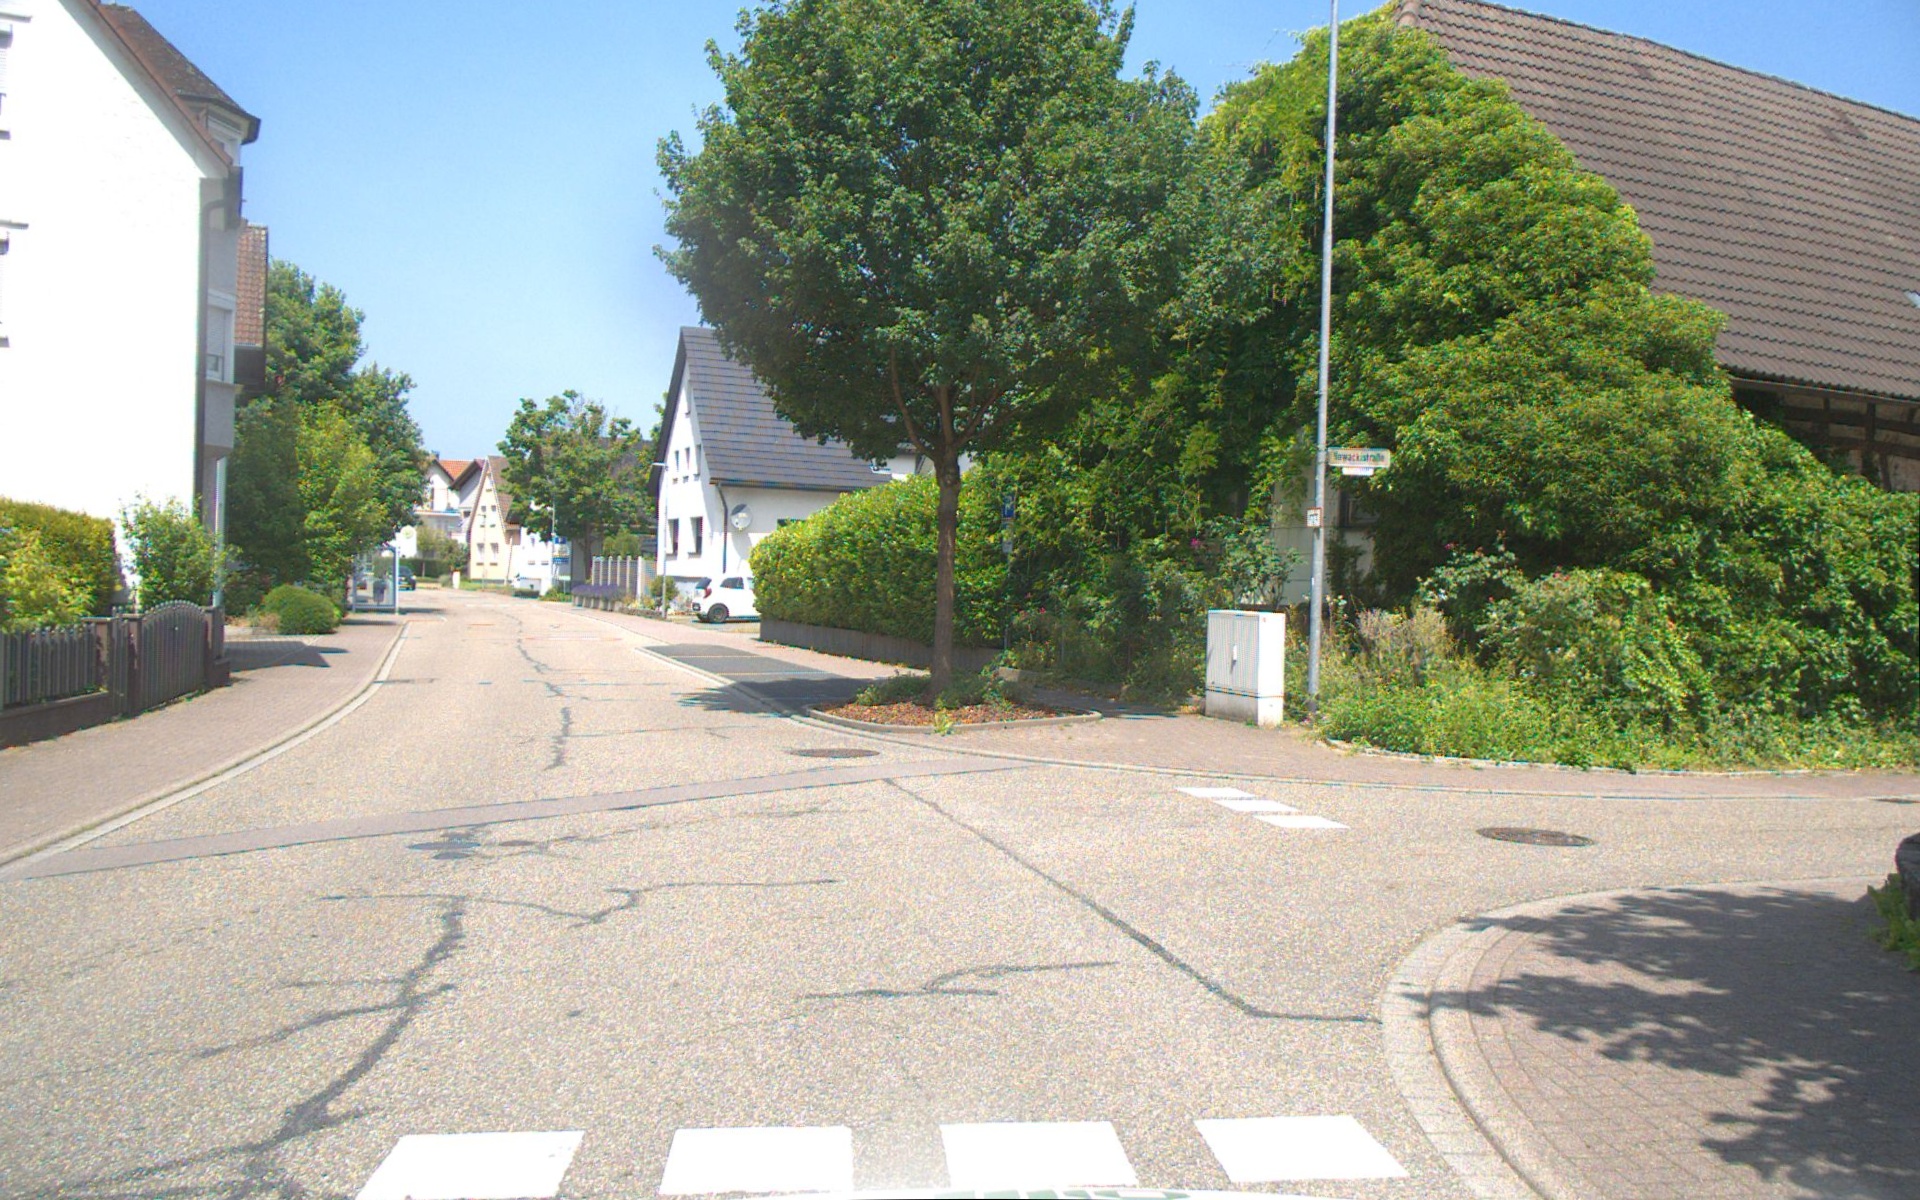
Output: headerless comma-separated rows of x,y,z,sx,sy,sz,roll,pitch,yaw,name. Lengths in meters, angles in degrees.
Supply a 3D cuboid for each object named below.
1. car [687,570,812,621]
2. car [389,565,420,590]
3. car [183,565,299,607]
-6.643,-0.164,52.218,3.611,1.500,1.752,-1,2,-25,car
-37.810,-1.536,112.635,1.747,1.651,4.088,0,1,-16,car
-28.133,-0.581,64.846,4.103,1.565,1.762,-1,2,-23,car
